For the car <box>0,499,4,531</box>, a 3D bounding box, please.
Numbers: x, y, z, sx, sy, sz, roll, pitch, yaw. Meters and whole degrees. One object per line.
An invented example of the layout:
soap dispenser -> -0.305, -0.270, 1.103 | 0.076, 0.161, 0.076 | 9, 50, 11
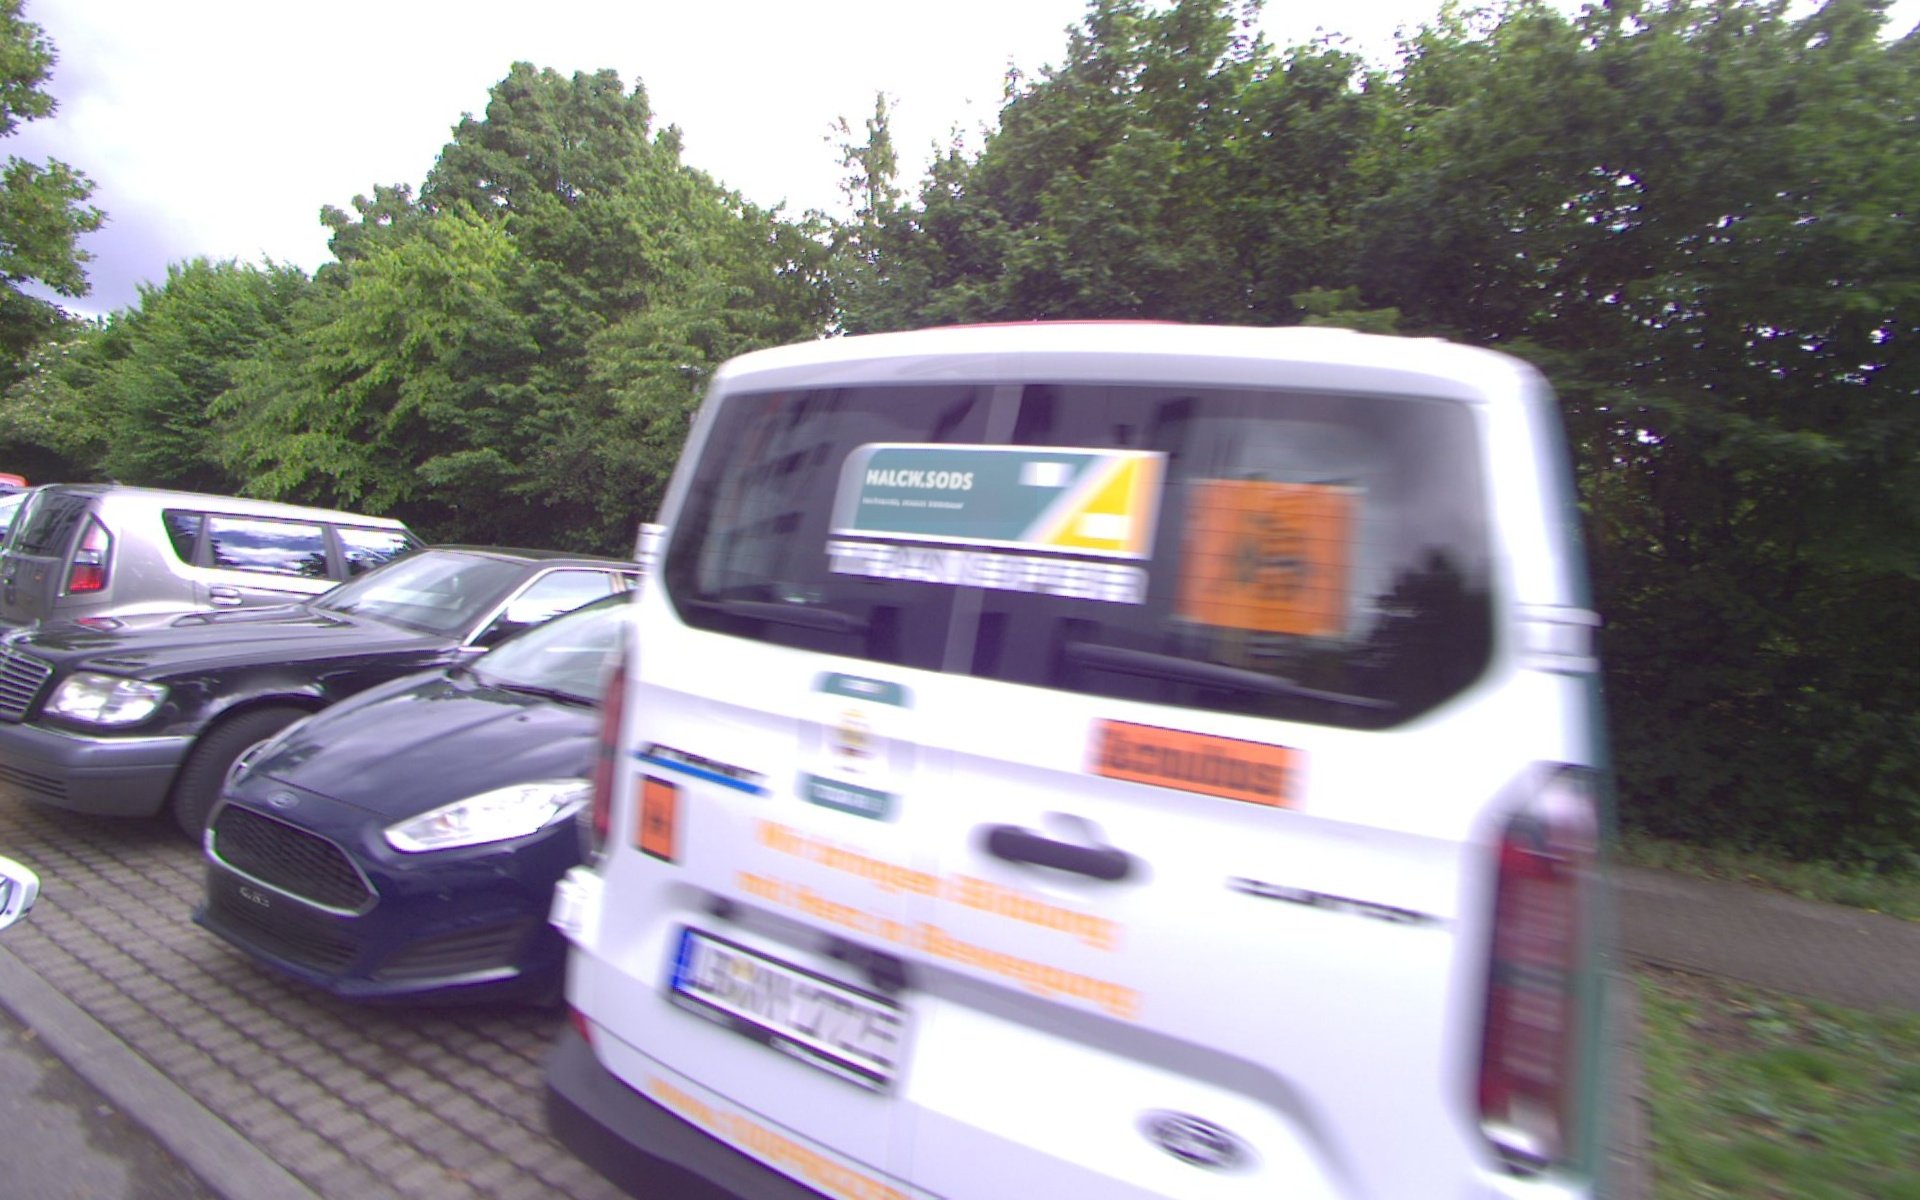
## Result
car -> -19.912, -1.365, 17.456 | 1.885, 1.592, 4.387 | 6, -2, 31

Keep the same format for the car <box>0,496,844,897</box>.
car -> -3.047, 0.390, 6.196 | 2.023, 1.452, 4.725 | 7, 1, 32

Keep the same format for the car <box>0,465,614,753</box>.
car -> -5.068, 0.072, 7.938 | 1.861, 1.630, 4.068 | 7, 1, 31

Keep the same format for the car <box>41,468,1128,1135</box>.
car -> -0.998, 0.531, 4.847 | 1.816, 1.536, 4.706 | 7, 1, 31

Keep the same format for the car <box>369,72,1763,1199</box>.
car -> 0.957, 0.548, 3.551 | 1.814, 1.997, 4.980 | 6, 1, 28

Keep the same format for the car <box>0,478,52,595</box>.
car -> -17.905, -1.336, 16.199 | 1.904, 1.926, 4.387 | 7, -2, 31

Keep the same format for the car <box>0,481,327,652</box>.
car -> -9.468, -0.373, 10.513 | 1.884, 1.597, 4.382 | 7, 1, 31

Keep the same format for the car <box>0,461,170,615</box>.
car -> -13.388, -0.932, 13.127 | 1.884, 1.928, 4.382 | 7, 1, 31

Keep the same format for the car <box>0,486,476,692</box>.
car -> -7.266, -0.111, 9.183 | 2.075, 1.518, 4.731 | 6, 1, 28
